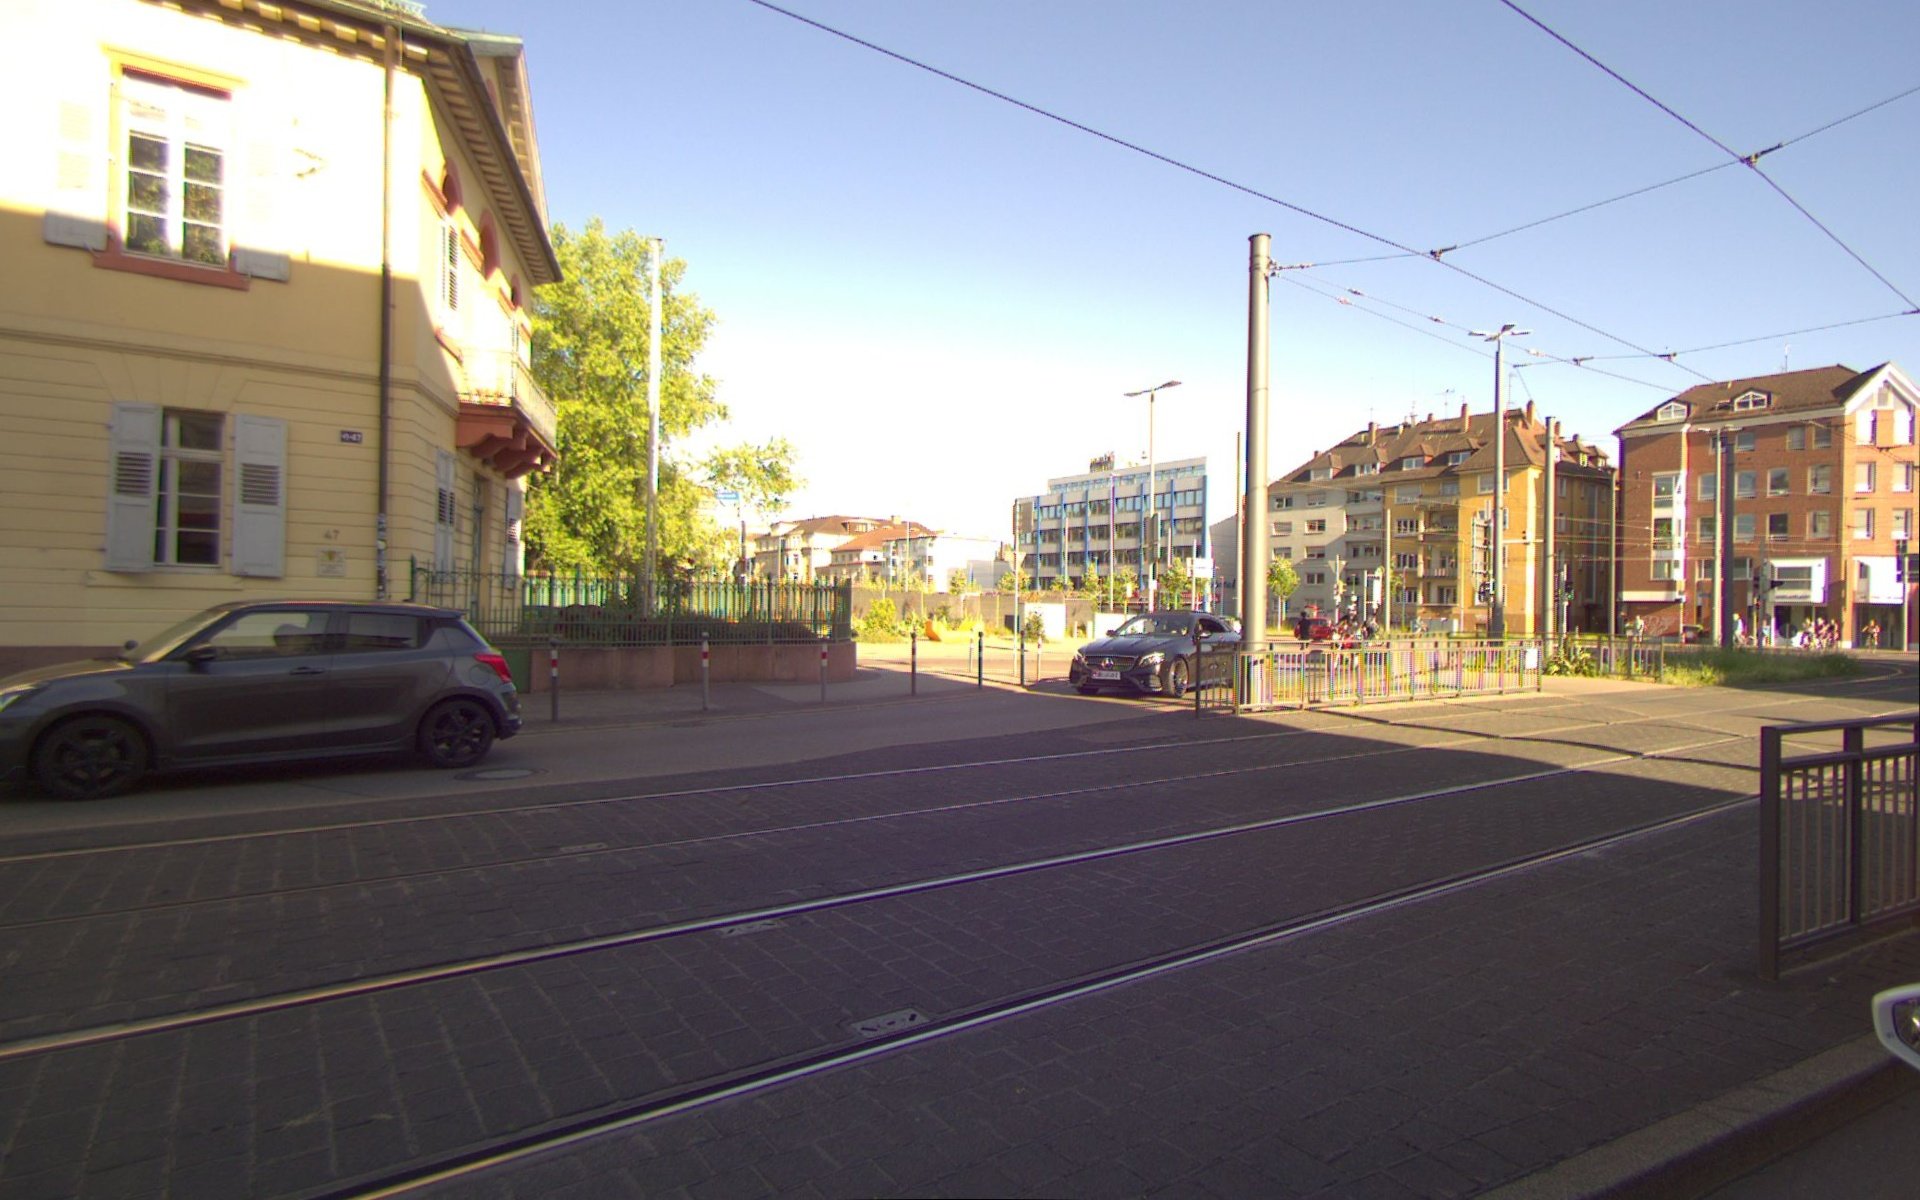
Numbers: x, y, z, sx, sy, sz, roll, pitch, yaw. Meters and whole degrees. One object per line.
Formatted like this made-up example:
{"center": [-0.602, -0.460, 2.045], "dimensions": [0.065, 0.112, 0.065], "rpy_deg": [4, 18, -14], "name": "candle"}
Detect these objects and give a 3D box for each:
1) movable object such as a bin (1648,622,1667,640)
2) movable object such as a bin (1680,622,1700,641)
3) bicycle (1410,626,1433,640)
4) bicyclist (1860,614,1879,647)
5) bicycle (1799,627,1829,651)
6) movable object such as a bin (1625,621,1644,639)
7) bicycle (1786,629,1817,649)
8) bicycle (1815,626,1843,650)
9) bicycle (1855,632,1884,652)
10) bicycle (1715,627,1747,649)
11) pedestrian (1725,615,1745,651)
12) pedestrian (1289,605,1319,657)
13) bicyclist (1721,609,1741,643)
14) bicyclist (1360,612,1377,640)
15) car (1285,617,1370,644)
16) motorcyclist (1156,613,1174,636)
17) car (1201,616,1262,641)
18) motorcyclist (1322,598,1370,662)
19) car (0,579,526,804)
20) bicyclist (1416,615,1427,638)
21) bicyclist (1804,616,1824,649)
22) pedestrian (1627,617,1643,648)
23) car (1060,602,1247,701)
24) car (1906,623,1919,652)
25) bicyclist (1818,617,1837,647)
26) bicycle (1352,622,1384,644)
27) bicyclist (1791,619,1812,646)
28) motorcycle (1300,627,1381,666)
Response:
{"center": [55.454, 2.464, 79.878], "dimensions": [1.087, 1.456, 0.988], "rpy_deg": [2, 0, -39], "name": "movable object such as a bin"}
{"center": [56.699, 2.429, 77.966], "dimensions": [1.087, 1.456, 0.988], "rpy_deg": [2, 0, -39], "name": "movable object such as a bin"}
{"center": [26.821, 1.912, 58.438], "dimensions": [1.160, 0.774, 0.318], "rpy_deg": [2, 0, 45], "name": "bicycle"}
{"center": [47.941, 1.595, 52.950], "dimensions": [0.761, 1.695, 0.522], "rpy_deg": [2, 0, -29], "name": "bicyclist"}
{"center": [44.393, 2.028, 52.220], "dimensions": [1.862, 1.230, 0.527], "rpy_deg": [2, 0, -29], "name": "bicycle"}
{"center": [54.456, 2.437, 81.097], "dimensions": [1.087, 1.456, 0.988], "rpy_deg": [2, 0, -39], "name": "movable object such as a bin"}
{"center": [45.850, 2.112, 54.741], "dimensions": [1.862, 1.027, 0.647], "rpy_deg": [2, 0, -29], "name": "bicycle"}
{"center": [48.252, 2.121, 55.756], "dimensions": [2.004, 1.308, 0.570], "rpy_deg": [2, 0, -32], "name": "bicycle"}
{"center": [47.969, 2.215, 52.976], "dimensions": [1.873, 1.027, 0.527], "rpy_deg": [2, 0, -29], "name": "bicycle"}
{"center": [38.814, 1.917, 50.559], "dimensions": [1.862, 1.027, 0.527], "rpy_deg": [2, 0, -29], "name": "bicycle"}
{"center": [45.389, 1.920, 58.832], "dimensions": [0.819, 2.040, 0.592], "rpy_deg": [2, 0, -27], "name": "pedestrian"}
{"center": [13.241, 1.172, 38.693], "dimensions": [0.784, 1.959, 0.724], "rpy_deg": [2, 0, -9], "name": "pedestrian"}
{"center": [38.814, 1.326, 50.547], "dimensions": [0.761, 1.695, 0.518], "rpy_deg": [2, 0, -29], "name": "bicyclist"}
{"center": [22.160, 1.420, 54.486], "dimensions": [0.605, 1.513, 0.608], "rpy_deg": [2, 0, -44], "name": "bicyclist"}
{"center": [21.753, 1.804, 59.587], "dimensions": [1.768, 1.529, 4.513], "rpy_deg": [1, -2, -39], "name": "car"}
{"center": [14.282, 1.719, 69.942], "dimensions": [0.775, 1.544, 0.914], "rpy_deg": [2, 0, -36], "name": "motorcyclist"}
{"center": [17.634, 1.817, 65.310], "dimensions": [1.560, 1.491, 3.673], "rpy_deg": [2, 0, -36], "name": "car"}
{"center": [9.695, 0.751, 25.237], "dimensions": [0.872, 1.579, 0.650], "rpy_deg": [2, 0, -25], "name": "motorcyclist"}
{"center": [-5.947, 0.666, 8.508], "dimensions": [3.830, 1.529, 1.761], "rpy_deg": [2, -2, -41], "name": "car"}
{"center": [26.844, 1.562, 58.432], "dimensions": [0.453, 1.333, 0.397], "rpy_deg": [2, 0, 44], "name": "bicyclist"}
{"center": [44.424, 1.696, 52.233], "dimensions": [0.761, 1.695, 0.518], "rpy_deg": [2, 0, -29], "name": "bicyclist"}
{"center": [38.825, 1.864, 57.783], "dimensions": [0.700, 1.711, 0.619], "rpy_deg": [-1, 2, -42], "name": "pedestrian"}
{"center": [3.626, 0.866, 18.096], "dimensions": [1.752, 1.529, 4.659], "rpy_deg": [0, -2, 32], "name": "car"}
{"center": [53.721, 2.095, 55.044], "dimensions": [4.074, 1.581, 1.676], "rpy_deg": [2, 0, -30], "name": "car"}
{"center": [48.076, 1.769, 55.663], "dimensions": [0.797, 1.671, 0.585], "rpy_deg": [2, 0, -32], "name": "bicyclist"}
{"center": [22.122, 1.806, 54.534], "dimensions": [0.608, 1.148, 1.481], "rpy_deg": [2, -3, -43], "name": "bicycle"}
{"center": [45.851, 1.763, 54.737], "dimensions": [0.721, 1.473, 0.661], "rpy_deg": [2, 0, -29], "name": "bicyclist"}
{"center": [9.557, 1.169, 25.208], "dimensions": [2.127, 0.939, 0.597], "rpy_deg": [2, 0, -25], "name": "motorcycle"}
